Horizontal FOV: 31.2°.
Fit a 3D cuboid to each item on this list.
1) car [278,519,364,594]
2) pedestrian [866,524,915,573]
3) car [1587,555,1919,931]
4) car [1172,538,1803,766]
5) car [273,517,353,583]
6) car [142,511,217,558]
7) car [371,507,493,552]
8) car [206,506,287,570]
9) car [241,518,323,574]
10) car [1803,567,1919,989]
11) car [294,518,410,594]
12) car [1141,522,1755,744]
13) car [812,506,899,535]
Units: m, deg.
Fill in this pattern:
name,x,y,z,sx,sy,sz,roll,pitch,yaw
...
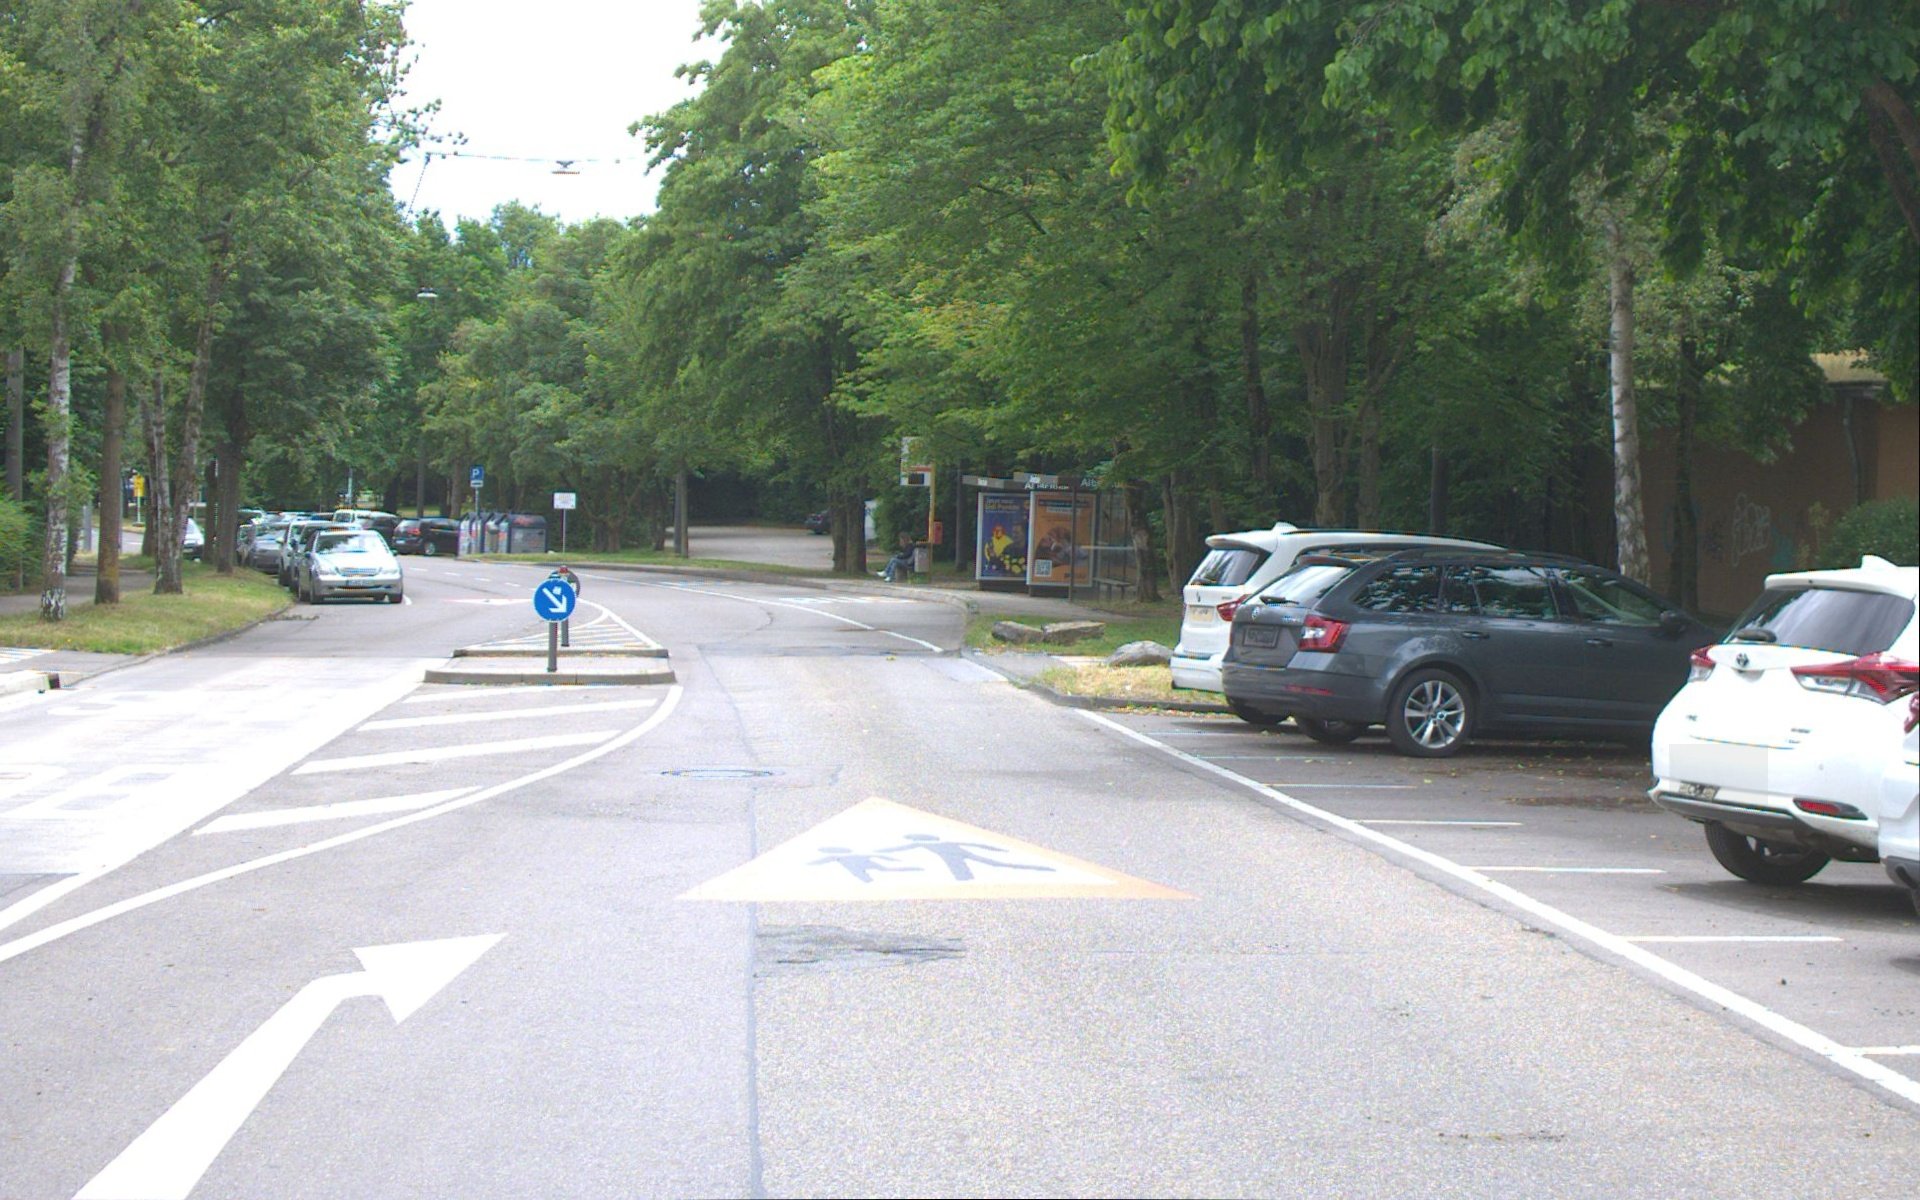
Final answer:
name,x,y,z,sx,sy,sz,roll,pitch,yaw
car,-13.604,-0.960,73.273,1.735,1.532,4.191,-1,2,-10
pedestrian,-1.671,-1.234,82.483,1.063,1.178,0.580,0,1,-16
car,5.018,0.623,15.138,3.986,1.459,1.867,2,1,-20
car,3.837,0.374,25.113,4.131,1.459,1.799,2,1,-18
car,-15.969,-1.258,84.767,1.735,1.573,4.143,-1,2,-13
car,-27.500,-2.316,121.093,1.804,1.557,4.268,-3,3,-23
car,-19.843,-2.644,129.254,3.989,1.409,2.057,3,1,-43
car,-21.926,-1.926,105.499,1.857,1.902,5.085,0,1,-18
car,-18.934,-1.518,95.931,1.865,1.532,4.228,0,1,-16
car,5.317,0.702,12.406,3.985,1.459,1.797,2,1,-15
car,-11.929,-0.891,67.289,1.735,1.411,4.474,-1,2,-16
car,3.911,0.255,27.824,4.466,1.580,1.907,2,1,-13
car,-5.275,-4.003,173.414,3.986,1.405,1.801,0,1,-18
